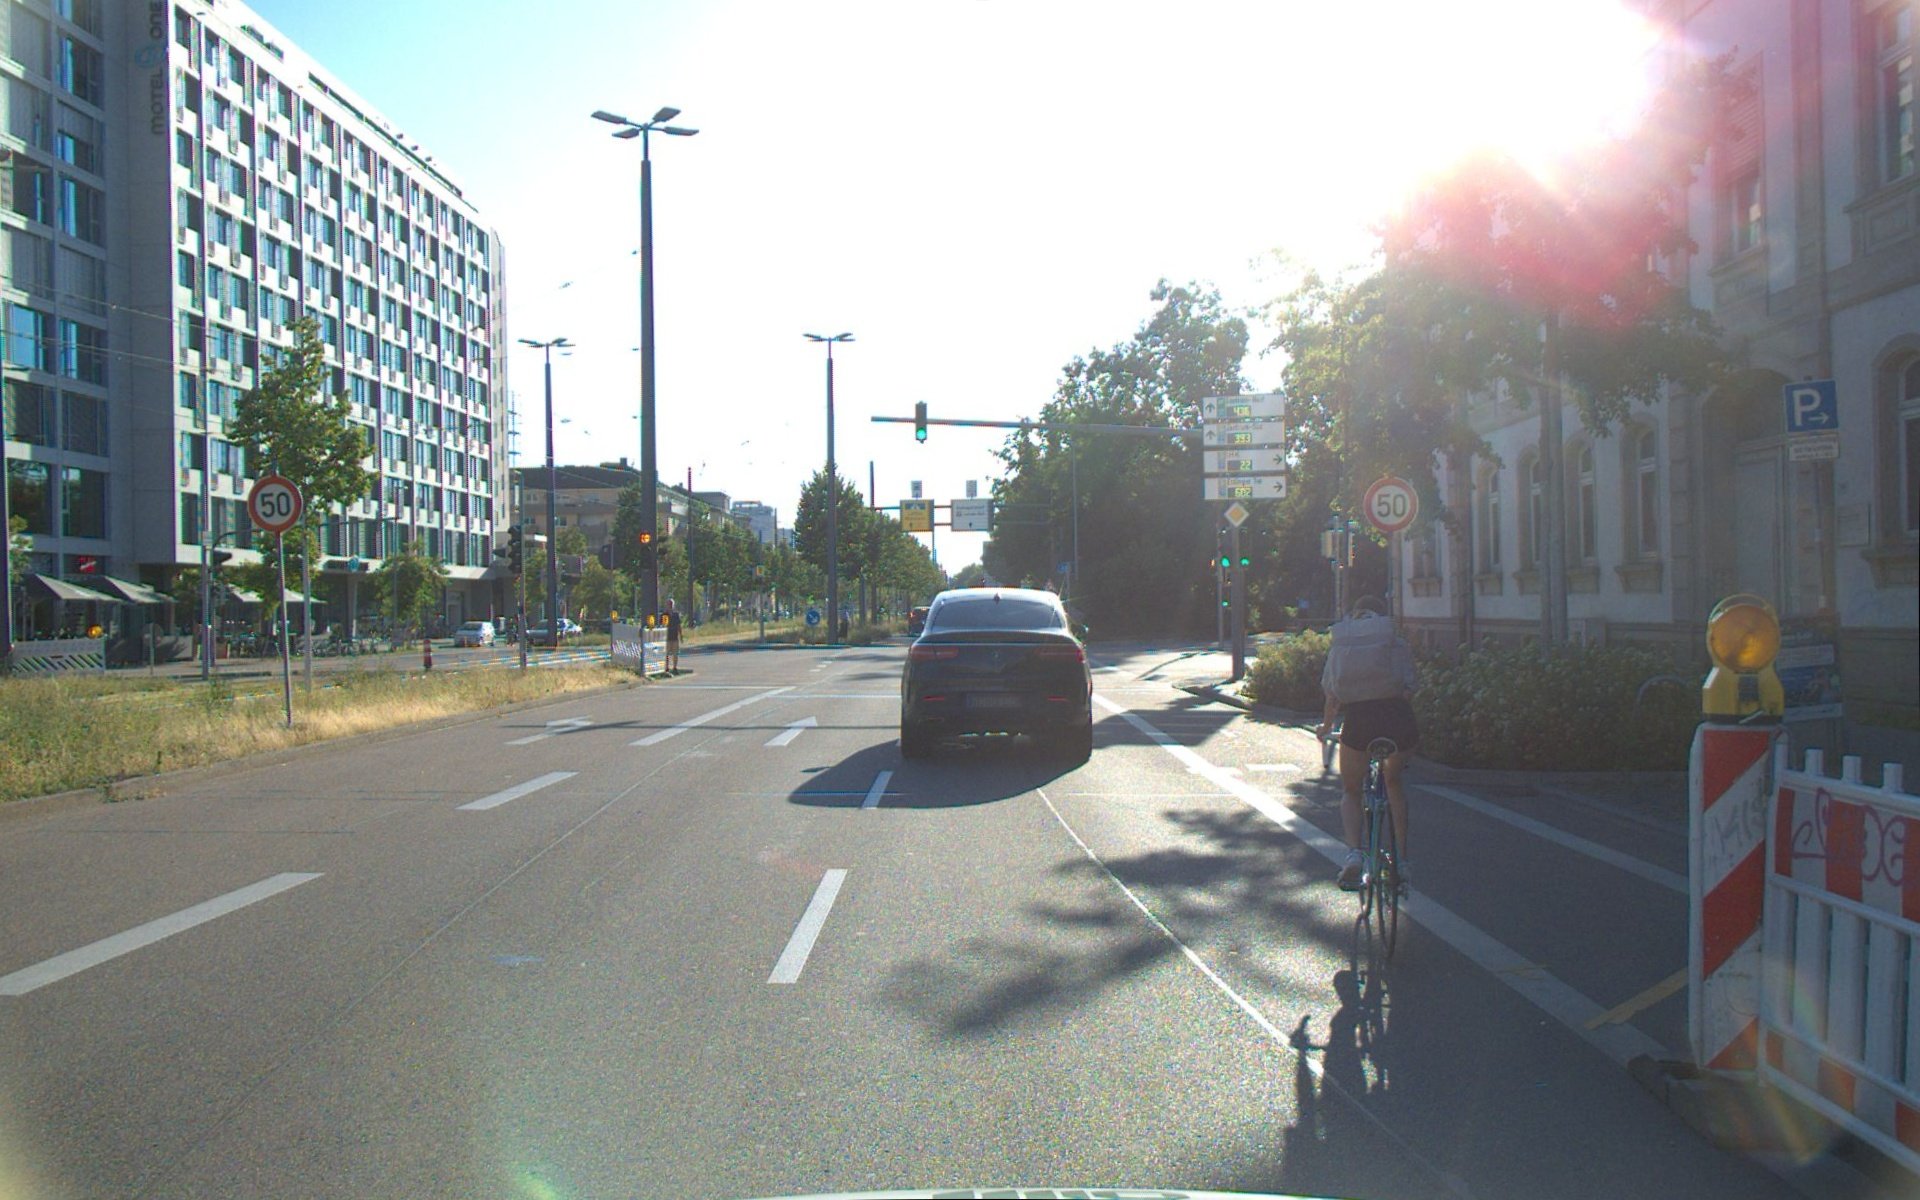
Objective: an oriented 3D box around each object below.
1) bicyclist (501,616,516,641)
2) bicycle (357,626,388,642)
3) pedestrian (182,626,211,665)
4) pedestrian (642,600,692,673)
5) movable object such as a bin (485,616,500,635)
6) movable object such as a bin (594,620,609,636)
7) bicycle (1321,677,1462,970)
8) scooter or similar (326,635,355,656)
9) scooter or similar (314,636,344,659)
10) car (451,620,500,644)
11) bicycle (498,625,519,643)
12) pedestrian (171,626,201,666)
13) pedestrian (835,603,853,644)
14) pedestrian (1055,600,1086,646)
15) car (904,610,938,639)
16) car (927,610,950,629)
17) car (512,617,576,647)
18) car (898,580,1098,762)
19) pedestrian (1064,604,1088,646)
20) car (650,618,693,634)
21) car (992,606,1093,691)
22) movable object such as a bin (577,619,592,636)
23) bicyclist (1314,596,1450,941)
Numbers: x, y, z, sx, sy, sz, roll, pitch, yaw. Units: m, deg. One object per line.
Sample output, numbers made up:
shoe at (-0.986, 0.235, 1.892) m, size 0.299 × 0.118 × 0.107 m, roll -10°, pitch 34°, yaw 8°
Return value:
bicyclist at (-27.688, 1.738, 101.464) m, size 0.612 × 1.490 × 0.851 m, roll -1°, pitch -1°, yaw 1°
bicycle at (-37.401, 2.162, 105.382) m, size 1.769 × 0.921 × 0.511 m, roll -1°, pitch -1°, yaw -6°
pedestrian at (-34.310, 2.039, 74.298) m, size 0.851 × 1.752 × 0.804 m, roll -1°, pitch -1°, yaw 10°
pedestrian at (-6.851, 0.850, 38.659) m, size 0.904 × 1.678 × 0.766 m, roll -1°, pitch -1°, yaw 12°
movable object such as a bin at (-36.890, 2.043, 130.519) m, size 0.783 × 1.465 × 1.403 m, roll -1°, pitch 0°, yaw 1°
movable object such as a bin at (-29.310, 2.260, 135.328) m, size 0.839 × 1.303 × 0.940 m, roll -1°, pitch -1°, yaw 15°
bicycle at (1.999, 0.974, 7.812) m, size 0.509 × 1.116 × 1.844 m, roll -1°, pitch 0°, yaw 11°
scooter or similar at (-30.434, 2.233, 81.273) m, size 1.217 × 1.037 × 0.435 m, roll -1°, pitch -1°, yaw 1°
scooter or similar at (-30.426, 2.284, 79.746) m, size 1.217 × 1.037 × 0.511 m, roll -1°, pitch -1°, yaw 1°
car at (-29.642, 1.941, 101.270) m, size 1.720 × 1.351 × 4.000 m, roll 0°, pitch 0°, yaw 1°
bicycle at (-27.688, 2.093, 101.442) m, size 0.612 × 1.085 × 2.078 m, roll -1°, pitch 0°, yaw 1°
pedestrian at (-34.395, 2.035, 73.504) m, size 0.851 × 1.752 × 0.804 m, roll -1°, pitch -1°, yaw 10°
pedestrian at (-4.884, 0.979, 69.590) m, size 0.585 × 1.729 × 0.714 m, roll -1°, pitch -1°, yaw 6°
pedestrian at (4.614, 0.965, 68.809) m, size 0.849 × 1.833 × 0.896 m, roll -3°, pitch 0°, yaw -34°
car at (-2.236, 1.383, 95.430) m, size 1.847 × 1.608 × 4.000 m, roll 0°, pitch 0°, yaw 0°
car at (-1.799, 1.641, 140.255) m, size 1.847 × 1.608 × 4.000 m, roll 0°, pitch 0°, yaw 0°
car at (-20.077, 1.524, 80.048) m, size 1.852 × 1.367 × 4.850 m, roll -1°, pitch 0°, yaw 0°
car at (0.508, 0.680, 18.078) m, size 1.951 × 1.765 × 4.002 m, roll 0°, pitch 0°, yaw 4°
pedestrian at (4.771, 1.025, 67.962) m, size 0.752 × 1.665 × 0.768 m, roll -3°, pitch 0°, yaw -9°
car at (-29.478, 2.638, 169.031) m, size 3.965 × 1.590 × 1.970 m, roll 1°, pitch -1°, yaw -42°
car at (1.653, 0.915, 32.873) m, size 1.857 × 1.554 × 4.060 m, roll 0°, pitch 0°, yaw 3°
movable object such as a bin at (-30.672, 2.250, 135.016) m, size 0.839 × 1.381 × 0.940 m, roll -1°, pitch -1°, yaw 15°
bicyclist at (1.985, 0.744, 7.869) m, size 0.540 × 1.517 × 1.082 m, roll -1°, pitch 0°, yaw 11°
